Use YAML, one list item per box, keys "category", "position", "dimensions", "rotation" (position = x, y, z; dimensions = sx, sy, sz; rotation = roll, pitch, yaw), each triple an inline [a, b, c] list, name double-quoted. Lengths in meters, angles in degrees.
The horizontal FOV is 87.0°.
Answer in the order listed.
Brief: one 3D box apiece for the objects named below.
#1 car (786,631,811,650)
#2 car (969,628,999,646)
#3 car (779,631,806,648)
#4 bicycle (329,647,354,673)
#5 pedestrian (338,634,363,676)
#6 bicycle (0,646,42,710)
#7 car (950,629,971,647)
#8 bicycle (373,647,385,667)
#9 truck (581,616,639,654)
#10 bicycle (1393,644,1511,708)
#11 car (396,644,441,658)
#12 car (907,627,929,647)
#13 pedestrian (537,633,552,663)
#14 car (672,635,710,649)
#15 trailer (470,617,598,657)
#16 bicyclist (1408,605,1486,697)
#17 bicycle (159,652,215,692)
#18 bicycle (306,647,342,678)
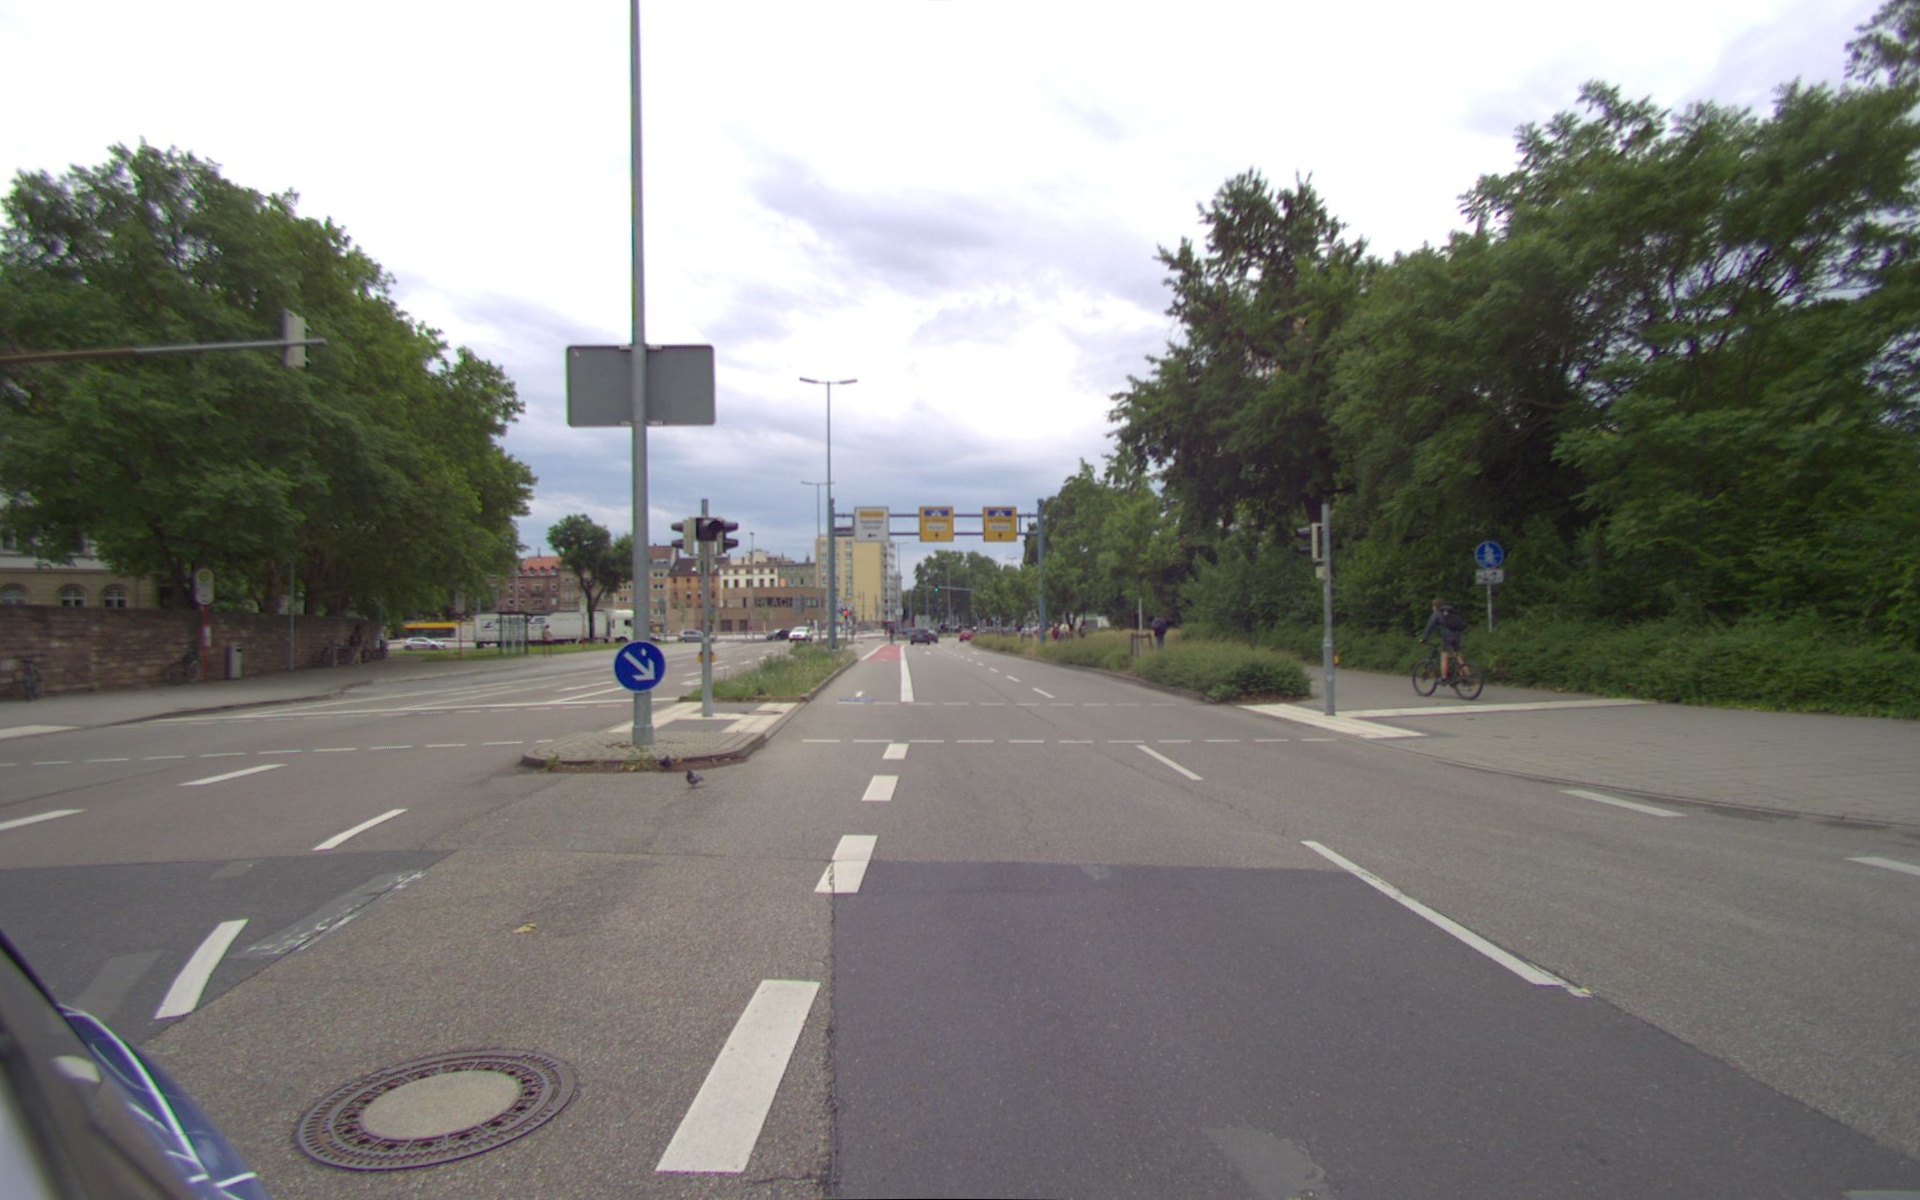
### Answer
- category: "car"
  position: [-16.678, 4.191, 104.961]
  dimensions: [2.017, 1.710, 5.379]
  rotation: [-3, 0, -4]
- category: "car"
  position: [2.981, 4.667, 127.591]
  dimensions: [1.966, 2.029, 4.012]
  rotation: [-3, 0, -29]
- category: "car"
  position: [-21.099, 4.962, 127.724]
  dimensions: [1.981, 2.029, 3.981]
  rotation: [-1, -2, 14]
- category: "bicycle"
  position: [-28.567, 2.747, 46.753]
  dimensions: [0.499, 1.157, 2.255]
  rotation: [1, -3, -20]
- category: "pedestrian"
  position: [-26.170, 2.333, 43.477]
  dimensions: [0.777, 1.773, 0.775]
  rotation: [0, -2, -20]
- category: "bicycle"
  position: [-21.992, 1.787, 23.564]
  dimensions: [0.658, 1.391, 2.591]
  rotation: [1, -2, -37]
- category: "car"
  position: [0.098, 4.297, 115.590]
  dimensions: [1.975, 2.029, 3.993]
  rotation: [-1, -2, 5]
- category: "bicycle"
  position: [-33.704, 3.303, 58.756]
  dimensions: [0.499, 1.157, 2.255]
  rotation: [2, -3, -28]
- category: "truck"
  position: [-37.274, 3.733, 108.032]
  dimensions: [5.365, 3.852, 2.850]
  rotation: [-1, 0, -8]
- category: "bicycle"
  position: [9.043, 1.371, 18.672]
  dimensions: [0.769, 1.045, 1.871]
  rotation: [-2, -1, -22]
- category: "car"
  position: [-59.302, 5.609, 110.923]
  dimensions: [3.935, 1.386, 2.004]
  rotation: [-1, -2, -10]
- category: "car"
  position: [-4.026, 3.488, 96.546]
  dimensions: [1.972, 1.807, 4.000]
  rotation: [-1, -2, -1]
- category: "pedestrian"
  position: [-23.485, 2.708, 57.184]
  dimensions: [0.632, 1.719, 0.709]
  rotation: [-1, -3, -7]
- category: "car"
  position: [-30.246, 4.703, 113.835]
  dimensions: [3.937, 1.386, 2.003]
  rotation: [-1, -2, -7]
- category: "trailer"
  position: [-44.890, 3.895, 107.032]
  dimensions: [12.179, 3.852, 2.850]
  rotation: [-1, 0, -8]
- category: "bicyclist"
  position: [8.995, 0.934, 18.713]
  dimensions: [0.754, 1.620, 0.926]
  rotation: [-3, -1, -23]
- category: "bicycle"
  position: [-23.607, 2.183, 30.952]
  dimensions: [0.654, 1.157, 2.162]
  rotation: [1, -2, -18]
- category: "bicycle"
  position: [-27.092, 2.652, 43.177]
  dimensions: [0.654, 1.275, 2.550]
  rotation: [1, -2, -18]
